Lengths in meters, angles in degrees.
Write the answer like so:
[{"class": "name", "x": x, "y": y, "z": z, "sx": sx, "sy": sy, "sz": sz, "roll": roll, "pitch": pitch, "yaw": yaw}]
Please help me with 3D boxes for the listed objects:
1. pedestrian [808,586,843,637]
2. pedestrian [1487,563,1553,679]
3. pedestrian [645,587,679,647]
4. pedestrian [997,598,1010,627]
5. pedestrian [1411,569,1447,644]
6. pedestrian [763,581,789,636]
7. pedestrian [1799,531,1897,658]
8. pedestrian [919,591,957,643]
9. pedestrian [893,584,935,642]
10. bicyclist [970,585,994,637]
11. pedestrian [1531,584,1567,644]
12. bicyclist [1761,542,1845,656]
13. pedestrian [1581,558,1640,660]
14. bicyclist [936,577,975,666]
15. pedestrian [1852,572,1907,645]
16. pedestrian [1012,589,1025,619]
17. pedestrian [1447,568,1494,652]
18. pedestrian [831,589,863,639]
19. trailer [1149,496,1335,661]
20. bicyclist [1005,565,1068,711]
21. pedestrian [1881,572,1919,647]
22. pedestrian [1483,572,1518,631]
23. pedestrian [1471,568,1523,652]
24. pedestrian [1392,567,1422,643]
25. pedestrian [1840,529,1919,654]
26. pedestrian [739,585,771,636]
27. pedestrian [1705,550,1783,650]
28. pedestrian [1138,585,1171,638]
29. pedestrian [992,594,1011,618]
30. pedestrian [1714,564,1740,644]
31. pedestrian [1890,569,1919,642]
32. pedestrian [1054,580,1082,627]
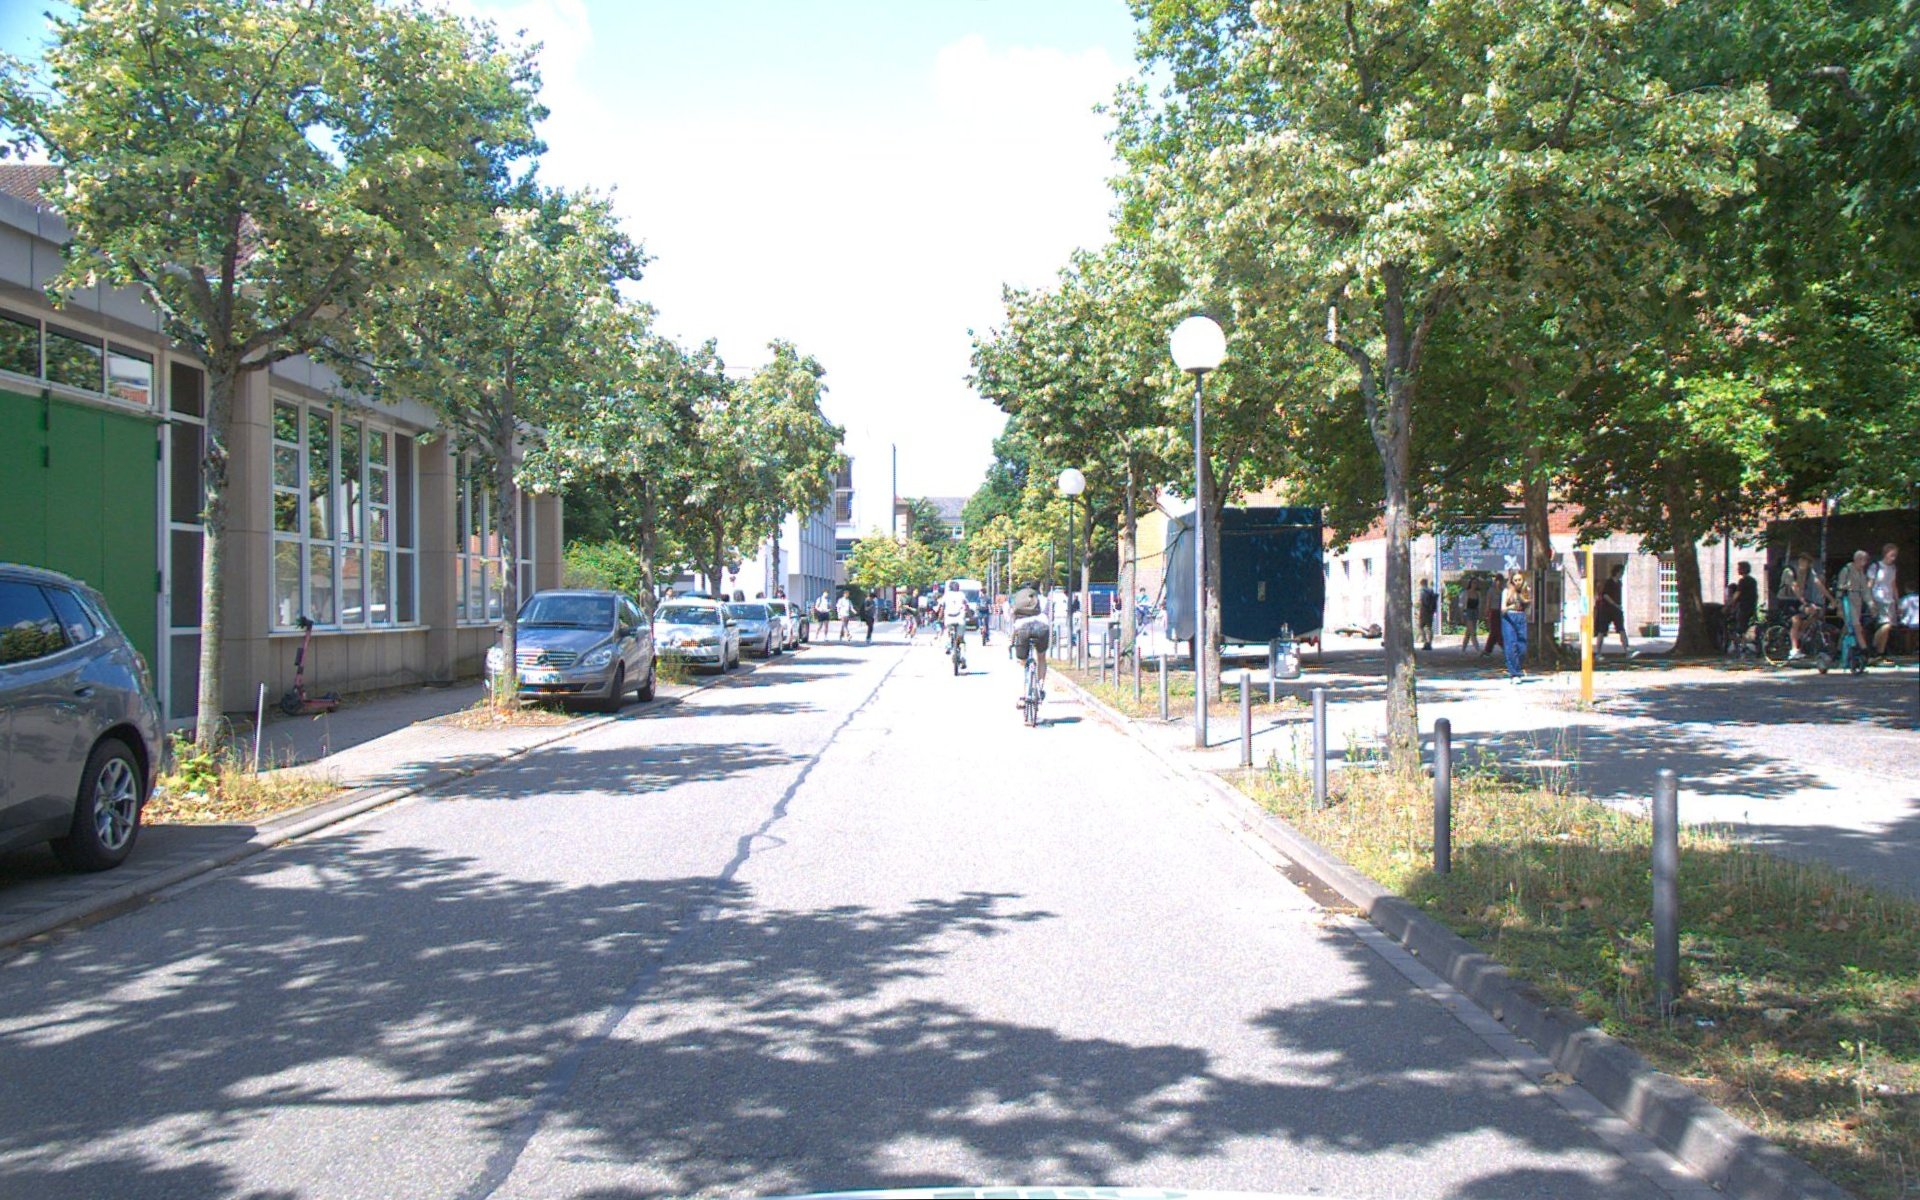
[{"class": "pedestrian", "x": -4.713, "y": 0.400, "z": 57.961, "sx": 0.965, "sy": 1.769, "sz": 0.697, "roll": 1, "pitch": -1, "yaw": 38}, {"class": "pedestrian", "x": 7.947, "y": 0.294, "z": 23.496, "sx": 0.557, "sy": 1.599, "sz": 0.927, "roll": -2, "pitch": -1, "yaw": 0}, {"class": "pedestrian", "x": -8.902, "y": 0.487, "z": 49.405, "sx": 0.693, "sy": 1.746, "sz": 1.109, "roll": 2, "pitch": 0, "yaw": 3}, {"class": "pedestrian", "x": 2.839, "y": 0.796, "z": 108.219, "sx": 0.773, "sy": 1.892, "sz": 1.026, "roll": -1, "pitch": 0, "yaw": 1}, {"class": "pedestrian", "x": 11.779, "y": 0.148, "z": 41.549, "sx": 0.583, "sy": 1.828, "sz": 0.727, "roll": -3, "pitch": 2, "yaw": -4}, {"class": "pedestrian", "x": -6.797, "y": 0.319, "z": 61.157, "sx": 0.610, "sy": 2.015, "sz": 0.820, "roll": -1, "pitch": -2, "yaw": -32}, {"class": "pedestrian", "x": 14.375, "y": -0.085, "z": 26.791, "sx": 0.820, "sy": 1.983, "sz": 1.072, "roll": -2, "pitch": 0, "yaw": -21}, {"class": "pedestrian", "x": -0.709, "y": 0.554, "z": 53.072, "sx": 0.843, "sy": 1.623, "sz": 0.817, "roll": -2, "pitch": 1, "yaw": -44}, {"class": "pedestrian", "x": -1.548, "y": 0.433, "z": 55.340, "sx": 1.097, "sy": 1.892, "sz": 0.849, "roll": 0, "pitch": 2, "yaw": 44}, {"class": "bicyclist", "x": 0.750, "y": 0.372, "z": 56.589, "sx": 0.792, "sy": 1.787, "sz": 0.692, "roll": 0, "pitch": -1, "yaw": 0}, {"class": "pedestrian", "x": 16.511, "y": 0.391, "z": 46.360, "sx": 0.646, "sy": 1.635, "sz": 0.678, "roll": -1, "pitch": 0, "yaw": -16}, {"class": "bicyclist", "x": 13.462, "y": -0.019, "z": 26.421, "sx": 0.522, "sy": 1.759, "sz": 1.072, "roll": -2, "pitch": 0, "yaw": -20}, {"class": "pedestrian", "x": 12.382, "y": 0.170, "z": 31.503, "sx": 0.749, "sy": 1.887, "sz": 0.824, "roll": -1, "pitch": 0, "yaw": 0}, {"class": "bicyclist", "x": -0.088, "y": 0.442, "z": 33.934, "sx": 0.755, "sy": 1.787, "sz": 0.848, "roll": 2, "pitch": 0, "yaw": 0}, {"class": "pedestrian", "x": 17.786, "y": 0.161, "z": 32.010, "sx": 0.558, "sy": 1.370, "sz": 0.728, "roll": -4, "pitch": 1, "yaw": -5}, {"class": "pedestrian", "x": 3.789, "y": 0.251, "z": 106.744, "sx": 0.774, "sy": 1.892, "sz": 1.026, "roll": -1, "pitch": 0, "yaw": 1}, {"class": "pedestrian", "x": 10.492, "y": 0.209, "z": 33.997, "sx": 0.683, "sy": 1.690, "sz": 0.788, "roll": -1, "pitch": 0, "yaw": 0}, {"class": "pedestrian", "x": -4.006, "y": 0.480, "z": 58.599, "sx": 0.891, "sy": 1.769, "sz": 0.675, "roll": 0, "pitch": 0, "yaw": 38}, {"class": "trailer", "x": 5.821, "y": -0.415, "z": 35.154, "sx": 2.637, "sy": 3.105, "sz": 6.255, "roll": -2, "pitch": 0, "yaw": -2}, {"class": "bicyclist", "x": 0.913, "y": 0.445, "z": 19.937, "sx": 0.702, "sy": 1.691, "sz": 1.095, "roll": 1, "pitch": 0, "yaw": 2}, {"class": "pedestrian", "x": 17.866, "y": 0.172, "z": 31.145, "sx": 0.558, "sy": 1.370, "sz": 0.728, "roll": -4, "pitch": 1, "yaw": -5}, {"class": "pedestrian", "x": 15.275, "y": 0.036, "z": 46.732, "sx": 0.646, "sy": 1.635, "sz": 0.678, "roll": -1, "pitch": 0, "yaw": -16}, {"class": "pedestrian", "x": 11.098, "y": 0.207, "z": 34.204, "sx": 0.749, "sy": 1.690, "sz": 0.824, "roll": -1, "pitch": 0, "yaw": 0}, {"class": "pedestrian", "x": 11.117, "y": 0.120, "z": 41.136, "sx": 0.583, "sy": 1.828, "sz": 0.406, "roll": -3, "pitch": 2, "yaw": -4}, {"class": "pedestrian", "x": 15.217, "y": -0.138, "z": 27.125, "sx": 0.820, "sy": 1.983, "sz": 1.072, "roll": -2, "pitch": 0, "yaw": -21}, {"class": "pedestrian", "x": -7.562, "y": 0.374, "z": 60.967, "sx": 0.785, "sy": 1.803, "sz": 0.854, "roll": 3, "pitch": 2, "yaw": 25}, {"class": "pedestrian", "x": 14.609, "y": -0.009, "z": 30.835, "sx": 0.940, "sy": 1.806, "sz": 0.918, "roll": -1, "pitch": 1, "yaw": -9}, {"class": "pedestrian", "x": 6.432, "y": 0.365, "z": 54.824, "sx": 0.858, "sy": 1.666, "sz": 0.949, "roll": -5, "pitch": 1, "yaw": 0}, {"class": "pedestrian", "x": 3.745, "y": 0.556, "z": 150.021, "sx": 1.470, "sy": 2.030, "sz": 1.646, "roll": -4, "pitch": 1, "yaw": -2}, {"class": "pedestrian", "x": 18.619, "y": 0.092, "z": 40.164, "sx": 0.438, "sy": 1.916, "sz": 0.530, "roll": 0, "pitch": 0, "yaw": 10}, {"class": "pedestrian", "x": 18.578, "y": 0.107, "z": 32.075, "sx": 0.558, "sy": 1.370, "sz": 0.728, "roll": -4, "pitch": 1, "yaw": -5}, {"class": "pedestrian", "x": 4.134, "y": 0.144, "z": 63.356, "sx": 0.938, "sy": 1.724, "sz": 0.705, "roll": 3, "pitch": 2, "yaw": 9}]
